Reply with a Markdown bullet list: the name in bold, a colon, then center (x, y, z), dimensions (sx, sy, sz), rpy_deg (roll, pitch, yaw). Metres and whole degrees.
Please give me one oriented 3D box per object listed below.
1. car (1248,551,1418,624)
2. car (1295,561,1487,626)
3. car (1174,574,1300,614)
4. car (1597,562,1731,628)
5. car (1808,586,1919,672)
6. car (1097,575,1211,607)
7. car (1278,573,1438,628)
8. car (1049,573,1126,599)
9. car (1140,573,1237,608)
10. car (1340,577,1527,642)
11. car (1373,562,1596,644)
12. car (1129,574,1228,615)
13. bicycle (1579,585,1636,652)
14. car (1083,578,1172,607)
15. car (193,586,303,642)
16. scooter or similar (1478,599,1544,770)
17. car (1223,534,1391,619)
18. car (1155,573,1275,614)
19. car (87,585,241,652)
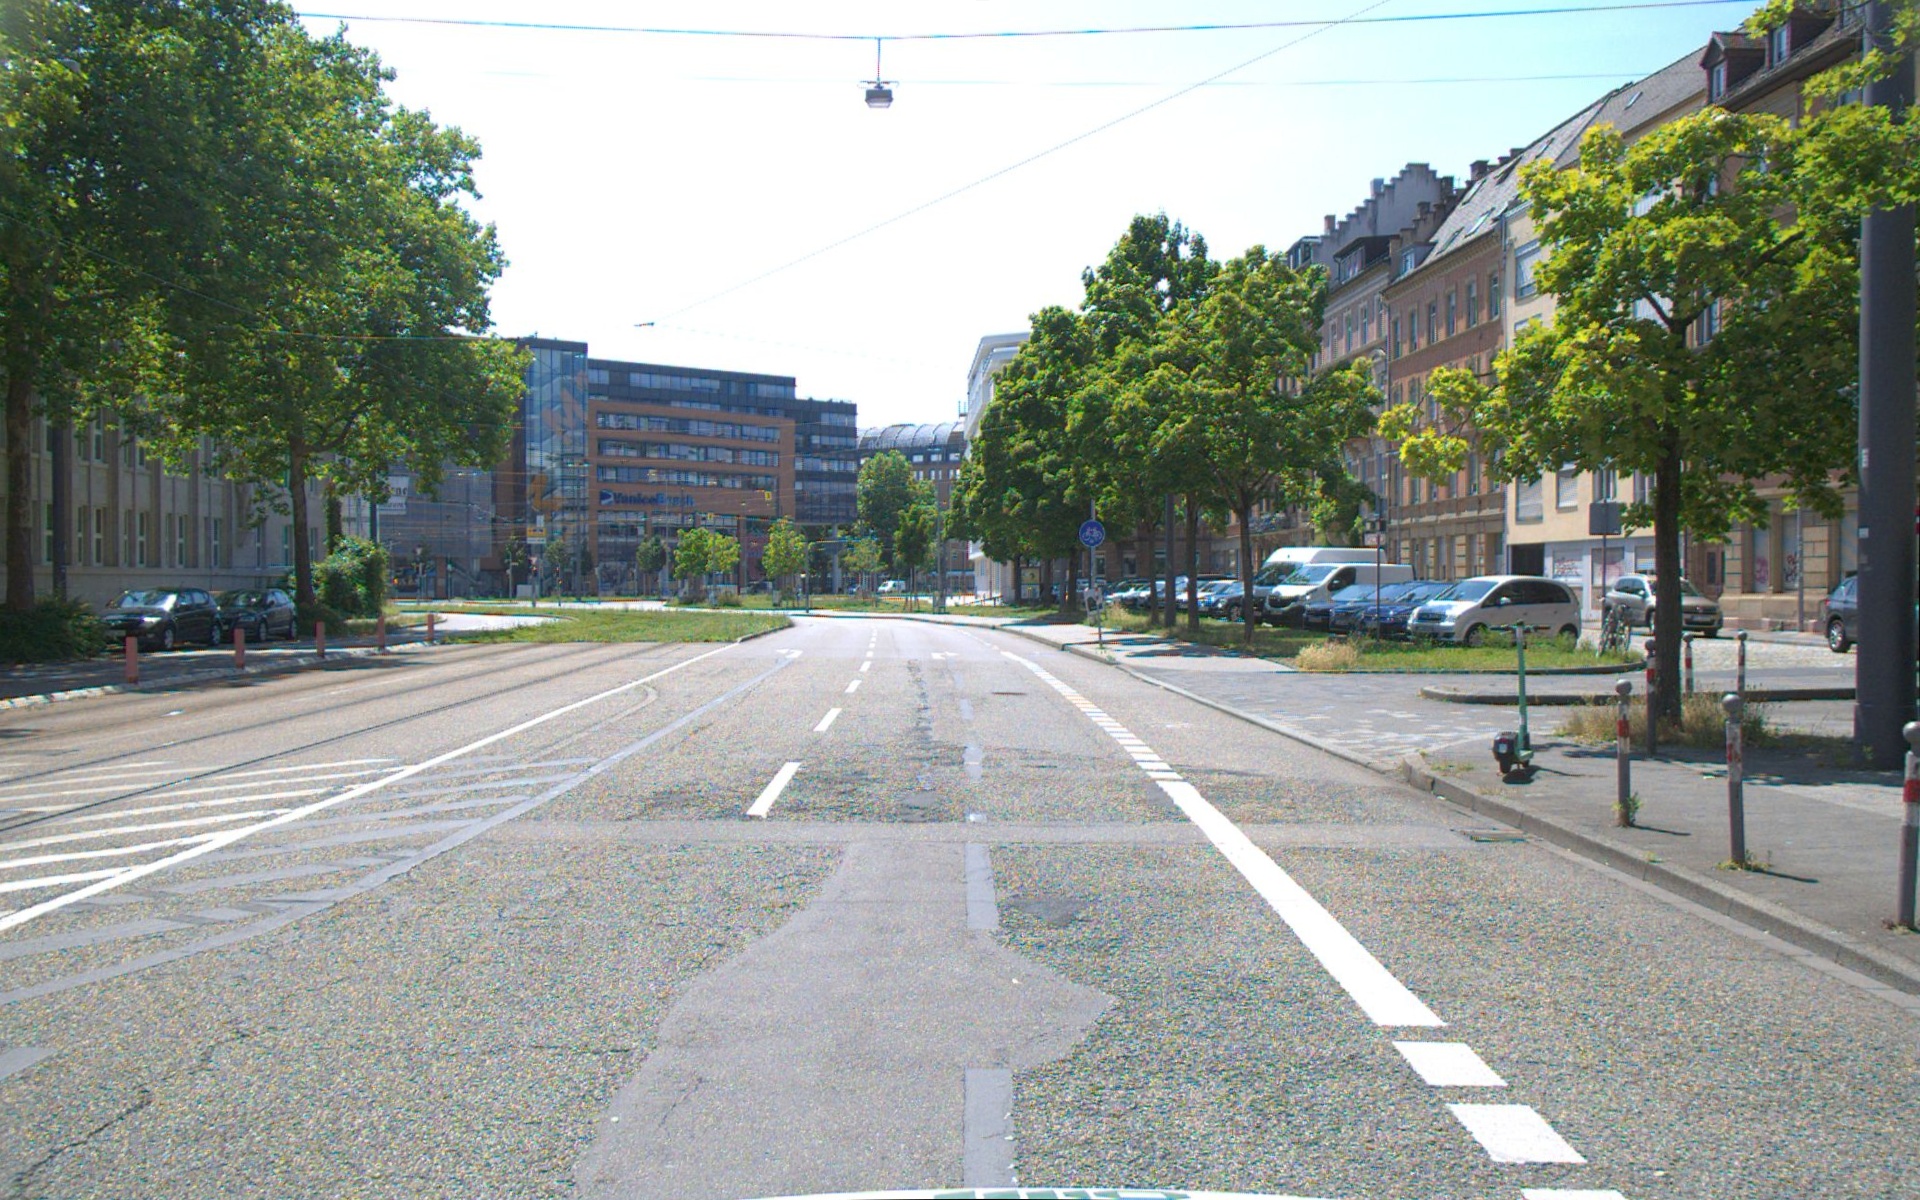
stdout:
- **car**: center (10.865, -0.339, 48.110), dimensions (4.785, 2.007, 2.054), rpy_deg (1, 0, -32)
- **car**: center (10.845, -0.157, 41.559), dimensions (4.563, 1.523, 1.948), rpy_deg (1, 0, -27)
- **car**: center (9.957, -0.196, 59.393), dimensions (4.381, 1.362, 1.948), rpy_deg (1, 0, -35)
- **car**: center (19.435, -0.158, 45.821), dimensions (1.783, 1.713, 3.997), rpy_deg (1, 0, -4)
- **car**: center (19.276, 0.552, 33.653), dimensions (1.951, 1.628, 4.601), rpy_deg (1, 0, 4)
- **car**: center (8.724, -0.392, 74.538), dimensions (4.711, 1.336, 2.133), rpy_deg (1, 0, -25)
- **car**: center (10.746, 0.016, 44.670), dimensions (3.934, 1.411, 1.810), rpy_deg (1, 0, -24)
- **car**: center (8.223, -0.897, 106.733), dimensions (4.807, 1.629, 1.818), rpy_deg (1, 0, -30)
- **car**: center (9.594, -0.388, 69.319), dimensions (3.954, 1.424, 1.691), rpy_deg (1, 0, -36)
- **car**: center (10.949, 0.216, 38.278), dimensions (3.934, 1.424, 1.810), rpy_deg (1, 0, -24)
- **car**: center (11.197, 0.072, 35.306), dimensions (4.342, 1.660, 1.984), rpy_deg (1, 0, -25)
- **car**: center (9.569, -0.242, 72.404), dimensions (3.943, 1.691, 1.953), rpy_deg (1, 0, -29)
- **bicycle**: center (12.433, 0.342, 31.722), dimensions (0.725, 1.214, 2.357), rpy_deg (1, 0, 28)
- **car**: center (8.322, -0.369, 82.169), dimensions (3.936, 1.336, 1.957), rpy_deg (1, 0, -25)
- **car**: center (-19.455, 0.354, 45.376), dimensions (1.557, 1.448, 4.317), rpy_deg (1, 0, -6)
- **scooter or similar**: center (4.385, 0.645, 13.142), dimensions (0.382, 1.235, 1.180), rpy_deg (-3, 1, 21)
- **car**: center (10.865, -0.706, 51.627), dimensions (5.499, 2.503, 2.206), rpy_deg (1, 0, -40)
- **car**: center (9.719, -0.239, 62.851), dimensions (4.648, 1.452, 1.944), rpy_deg (1, 0, -40)
- **car**: center (-19.083, 0.402, 39.857), dimensions (1.727, 1.509, 4.321), rpy_deg (1, 0, -2)
